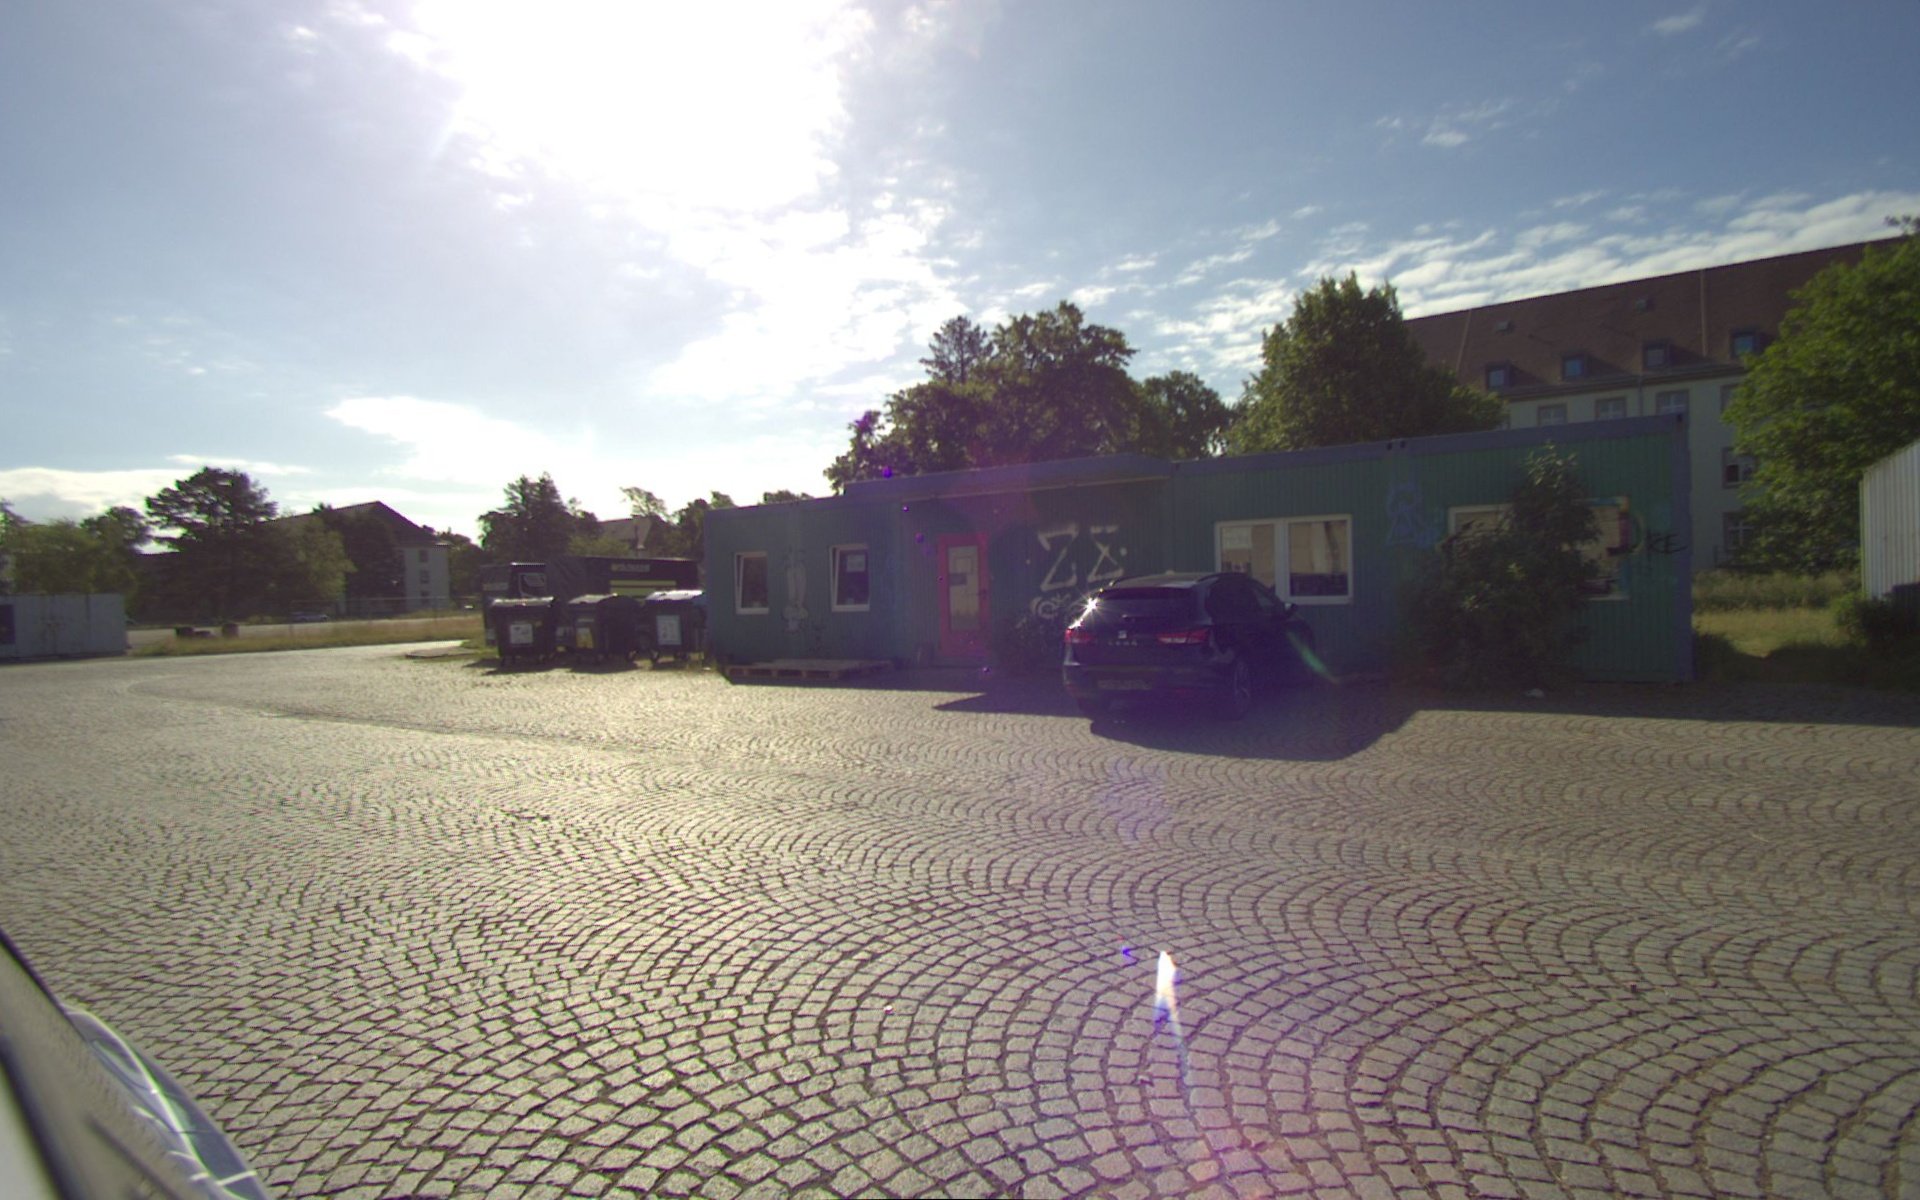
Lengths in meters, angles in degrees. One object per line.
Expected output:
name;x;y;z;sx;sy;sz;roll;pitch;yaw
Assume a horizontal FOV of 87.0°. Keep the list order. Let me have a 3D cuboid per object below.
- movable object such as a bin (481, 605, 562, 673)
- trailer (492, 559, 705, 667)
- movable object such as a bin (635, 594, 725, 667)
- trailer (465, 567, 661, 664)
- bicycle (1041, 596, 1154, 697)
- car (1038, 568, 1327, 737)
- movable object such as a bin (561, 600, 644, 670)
movable object such as a bin;-9.569;0.835;22.157;1.343;1.396;1.049;-2;0;-6
trailer;-8.839;0.227;25.187;1.935;2.408;4.806;-2;1;30
movable object such as a bin;-5.810;0.621;21.026;1.400;1.447;1.080;-2;0;24
trailer;-10.463;0.333;26.986;2.010;2.290;4.415;-2;2;36
bicycle;1.778;0.561;12.909;0.672;1.109;1.693;-2;2;36
car;2.606;0.429;11.067;1.727;1.423;4.017;-1;2;34
movable object such as a bin;-7.536;0.725;21.311;1.368;1.396;1.070;-2;0;40
